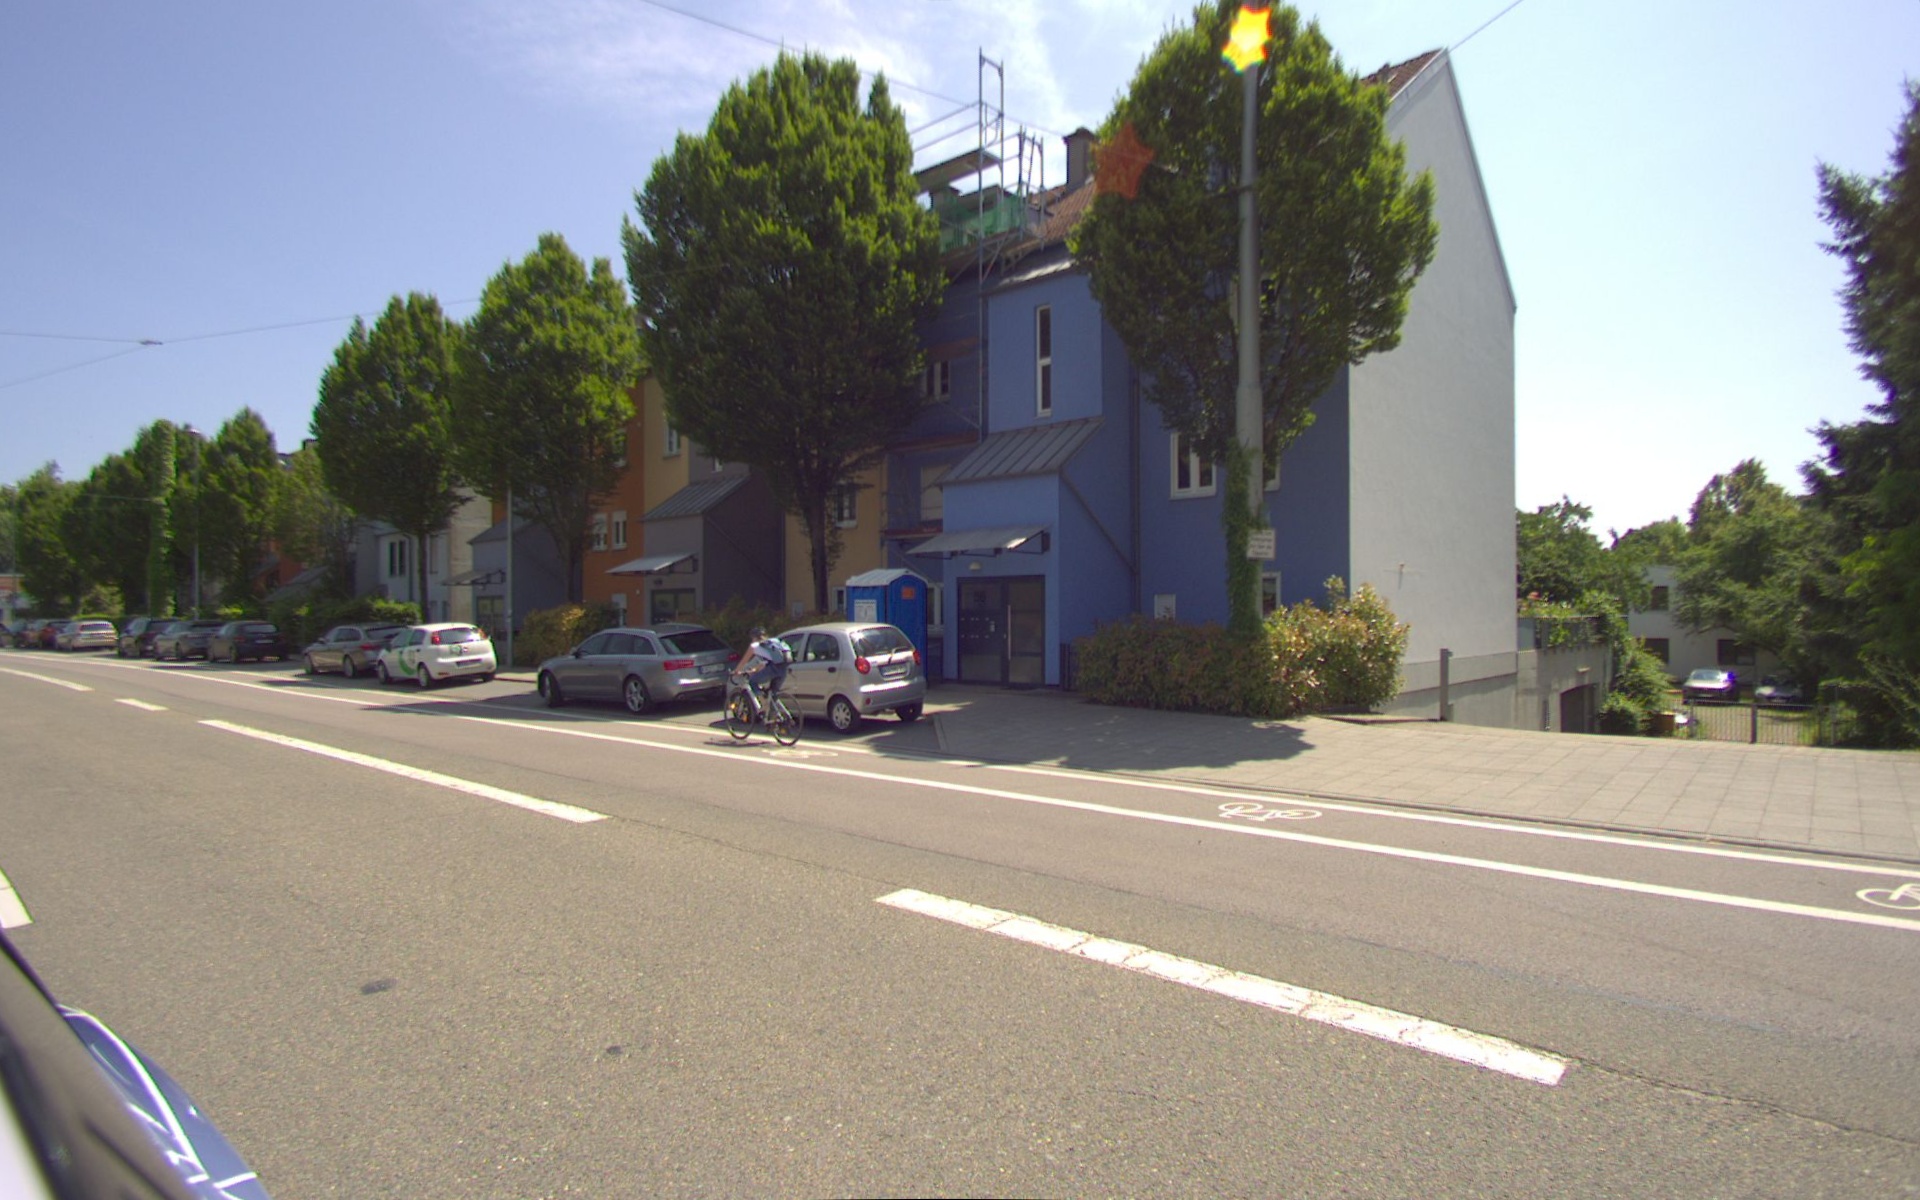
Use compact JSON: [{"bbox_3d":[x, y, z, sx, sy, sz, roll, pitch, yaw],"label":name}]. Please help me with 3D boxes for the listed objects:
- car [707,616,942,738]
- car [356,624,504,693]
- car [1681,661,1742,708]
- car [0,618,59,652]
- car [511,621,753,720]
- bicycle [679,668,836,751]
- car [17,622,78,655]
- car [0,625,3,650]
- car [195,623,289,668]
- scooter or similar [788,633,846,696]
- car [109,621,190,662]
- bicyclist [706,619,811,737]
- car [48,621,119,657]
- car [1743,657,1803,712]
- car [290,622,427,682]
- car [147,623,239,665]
[{"bbox_3d":[-2.111,1.079,15.313,3.447,1.506,1.577,-1,3,41],"label":"car"},{"bbox_3d":[-13.396,1.411,25.490,4.418,1.453,1.728,-1,3,41],"label":"car"},{"bbox_3d":[35.035,3.883,47.142,1.999,1.730,3.946,0,1,40],"label":"car"},{"bbox_3d":[-52.476,1.951,56.722,4.548,1.807,1.976,-1,-1,36],"label":"car"},{"bbox_3d":[-6.195,1.234,18.745,5.129,1.461,1.769,-2,2,40],"label":"car"},{"bbox_3d":[-2.641,1.374,13.046,2.240,0.958,0.695,-2,-4,39],"label":"bicycle"},{"bbox_3d":[-48.323,2.041,53.566,3.673,1.606,1.586,-2,0,35],"label":"car"},{"bbox_3d":[-59.989,2.331,61.564,4.135,1.549,1.848,-2,0,36],"label":"car"},{"bbox_3d":[-25.814,1.601,36.358,4.254,1.443,1.732,-1,1,40],"label":"car"},{"bbox_3d":[-2.746,1.219,19.381,1.183,1.154,0.449,-2,-2,43],"label":"scooter or similar"},{"bbox_3d":[-34.599,1.758,43.161,4.142,1.601,1.750,-2,0,38],"label":"car"},{"bbox_3d":[-2.605,0.991,13.055,1.123,1.442,0.728,-1,-5,38],"label":"bicyclist"},{"bbox_3d":[-43.476,1.921,50.184,4.490,1.594,1.822,-2,0,38],"label":"car"},{"bbox_3d":[36.524,3.734,45.438,1.999,2.029,3.946,0,1,40],"label":"car"},{"bbox_3d":[-17.284,1.448,28.981,4.744,1.440,1.688,-2,3,38],"label":"car"},{"bbox_3d":[-30.028,1.691,39.559,4.752,1.507,1.807,-2,0,39],"label":"car"}]
